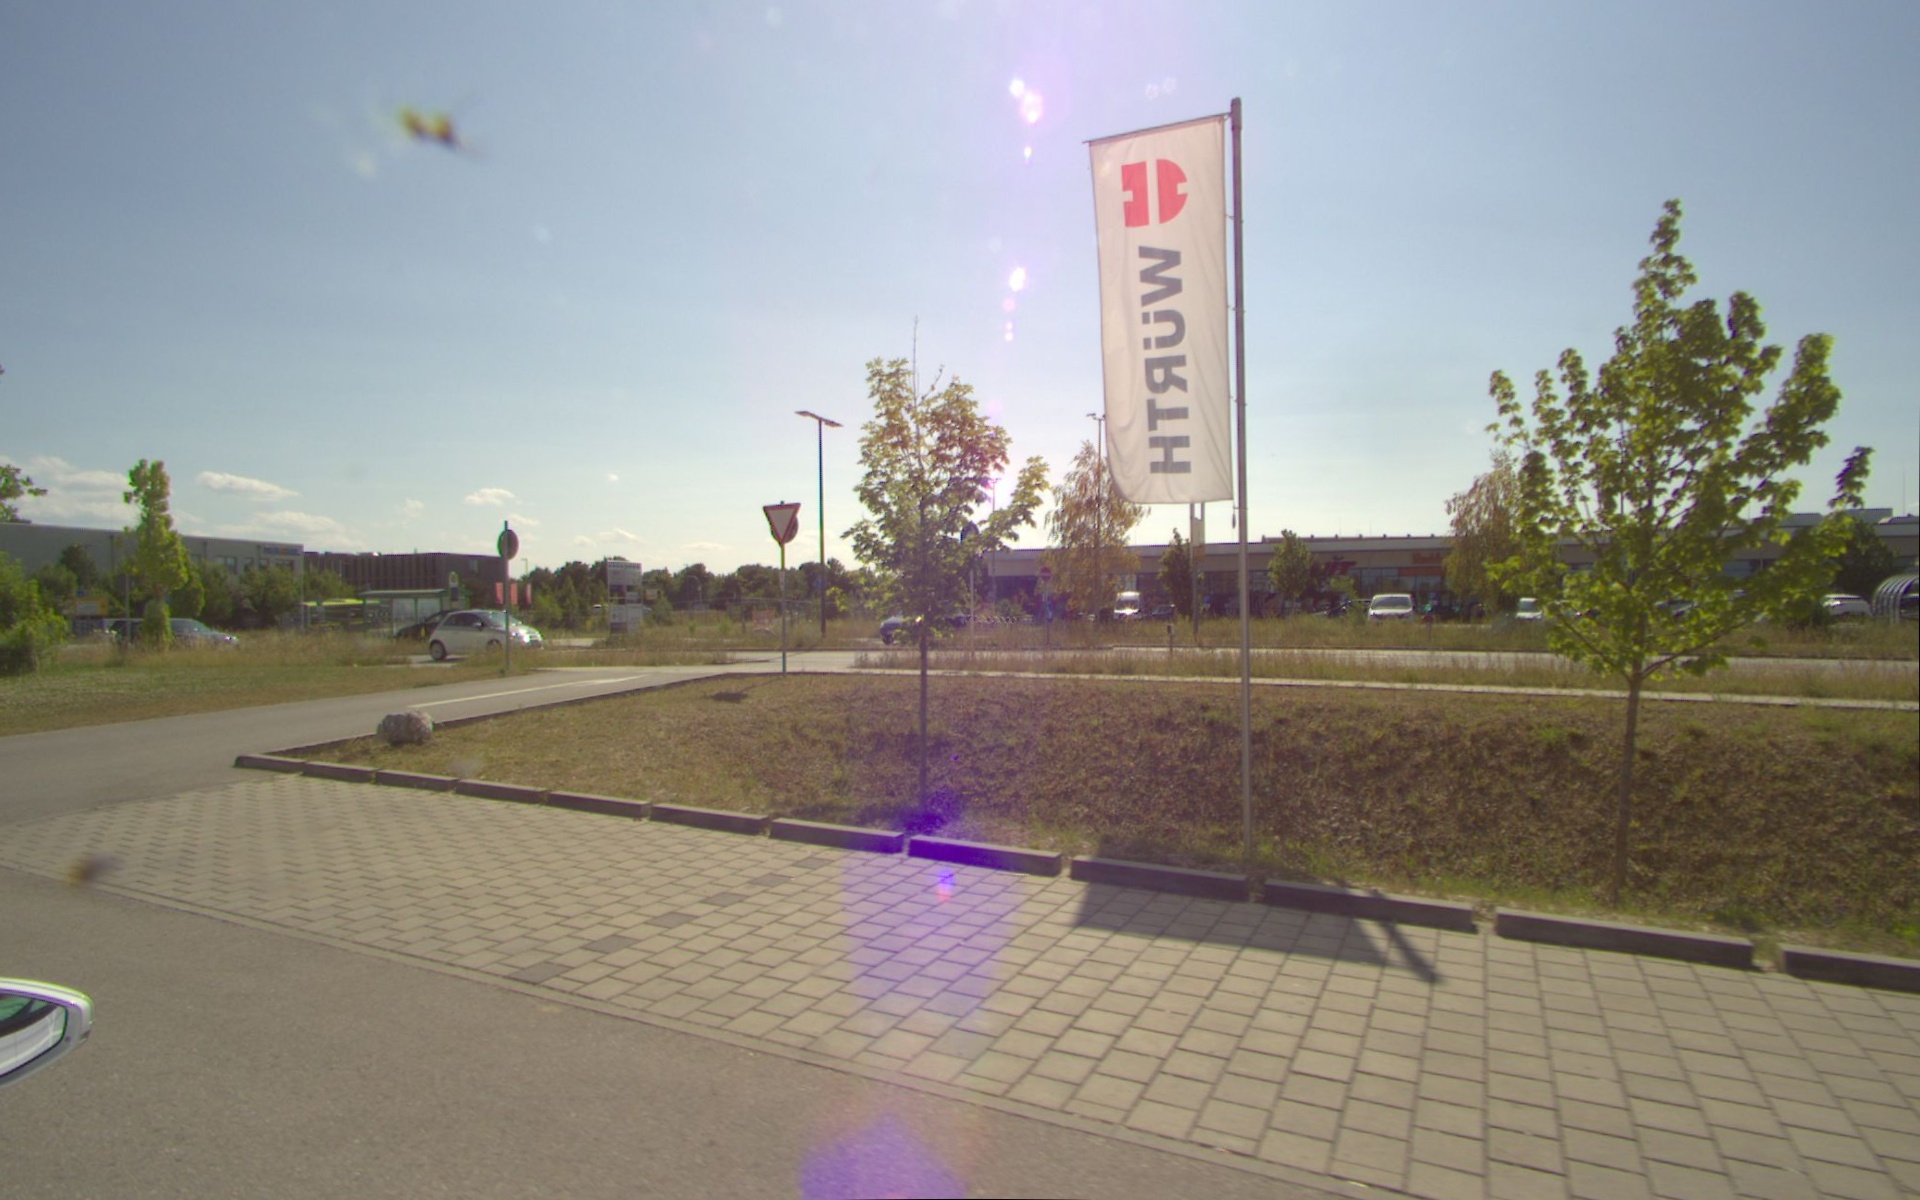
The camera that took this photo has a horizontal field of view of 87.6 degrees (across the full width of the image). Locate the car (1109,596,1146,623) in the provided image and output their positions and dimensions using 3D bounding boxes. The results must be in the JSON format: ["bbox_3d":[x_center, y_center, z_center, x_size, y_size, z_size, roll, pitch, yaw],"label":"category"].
[{"bbox_3d":[13.048,0.745,77.570,2.189,2.003,6.688,-1,-1,15],"label":"car"}]

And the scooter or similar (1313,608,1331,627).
[{"bbox_3d":[21.067,1.000,58.285,0.930,1.094,0.650,0,0,24],"label":"scooter or similar"}]

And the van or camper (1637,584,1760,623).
[{"bbox_3d":[39.666,0.190,53.934,4.965,2.040,1.995,0,0,22],"label":"van or camper"}]

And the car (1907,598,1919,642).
[{"bbox_3d":[50.568,0.984,49.969,4.401,2.220,1.998,0,0,14],"label":"car"}]

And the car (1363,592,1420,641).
[{"bbox_3d":[19.330,0.717,44.703,2.055,2.040,5.209,0,0,27],"label":"car"}]

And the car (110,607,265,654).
[{"bbox_3d":[-26.998,1.041,35.049,4.305,1.571,1.913,0,-1,11],"label":"car"}]

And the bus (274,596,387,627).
[{"bbox_3d":[-58.778,1.032,93.950,2.530,2.771,11.567,0,0,5],"label":"bus"}]

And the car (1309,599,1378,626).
[{"bbox_3d":[22.727,0.766,59.445,3.740,1.528,1.728,-1,0,20],"label":"car"}]

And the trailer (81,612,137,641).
[{"bbox_3d":[-57.129,1.730,67.311,1.799,1.884,3.987,0,-1,-24],"label":"trailer"}]

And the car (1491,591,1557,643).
[{"bbox_3d":[23.874,0.700,42.263,2.134,2.040,5.087,0,0,33],"label":"car"}]

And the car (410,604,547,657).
[{"bbox_3d":[-15.178,0.936,31.587,3.715,1.571,1.739,0,-1,17],"label":"car"}]

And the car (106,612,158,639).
[{"bbox_3d":[-58.624,1.785,70.945,1.799,1.884,3.987,0,-1,-24],"label":"car"}]

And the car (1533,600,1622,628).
[{"bbox_3d":[32.537,0.758,52.850,3.664,1.409,1.729,-1,0,16],"label":"car"}]

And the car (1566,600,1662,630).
[{"bbox_3d":[32.614,0.751,50.022,3.664,1.409,1.729,-1,0,16],"label":"car"}]

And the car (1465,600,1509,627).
[{"bbox_3d":[36.186,0.916,68.835,1.964,1.729,3.993,-1,0,18],"label":"car"}]

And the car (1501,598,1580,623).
[{"bbox_3d":[33.931,0.595,58.645,3.664,1.409,1.729,-1,0,16],"label":"car"}]

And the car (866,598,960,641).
[{"bbox_3d":[-1.694,0.726,37.735,1.966,1.536,4.187,0,-1,22],"label":"car"}]
